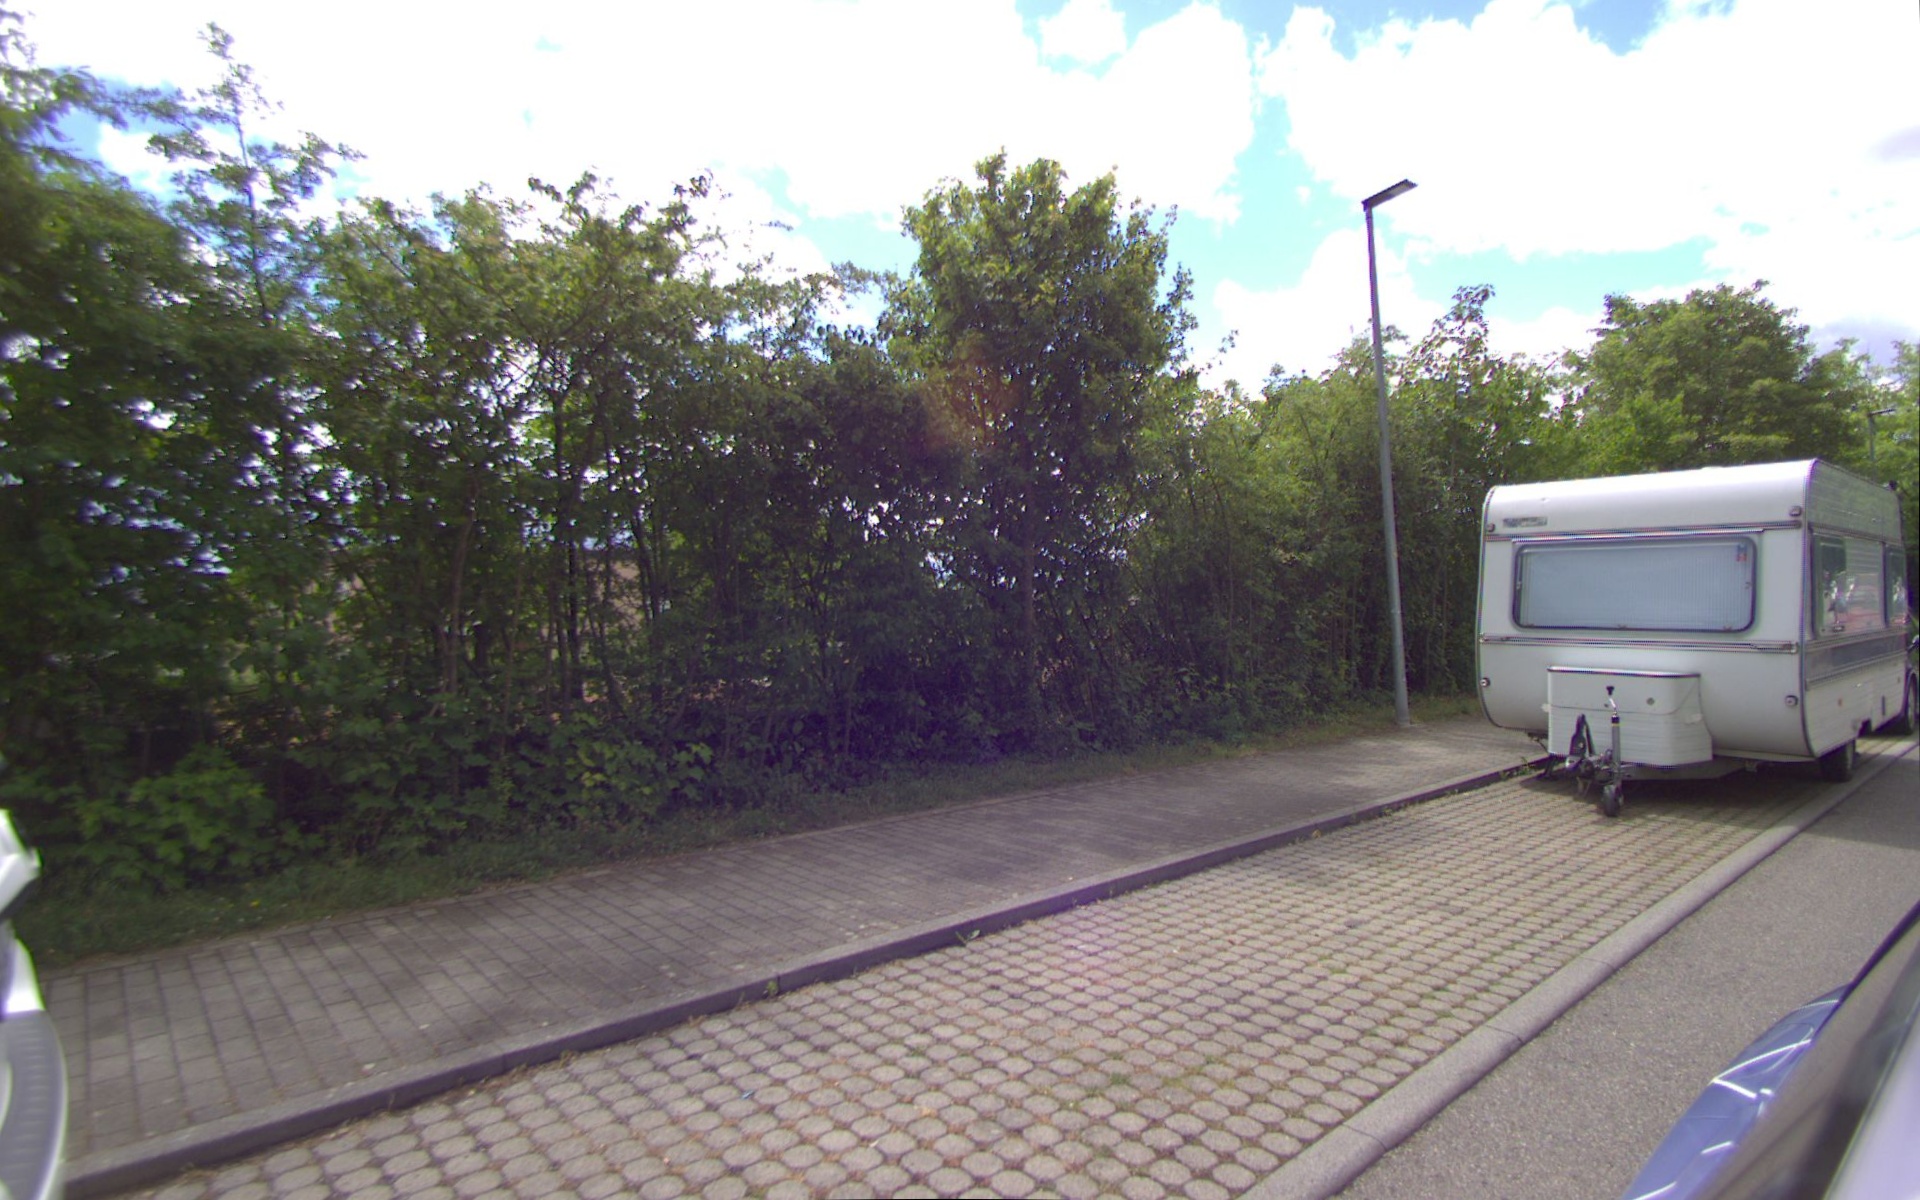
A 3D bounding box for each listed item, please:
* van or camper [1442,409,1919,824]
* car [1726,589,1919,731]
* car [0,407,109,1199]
[{"bbox_3d":[6.519,0.075,8.842,4.986,2.586,2.359,-1,0,-41],"label":"van or camper"},{"bbox_3d":[11.124,0.616,12.539,4.402,1.469,1.684,-1,-1,-41],"label":"car"},{"bbox_3d":[-3.091,0.619,0.295,4.297,1.620,1.807,0,0,-42],"label":"car"}]
